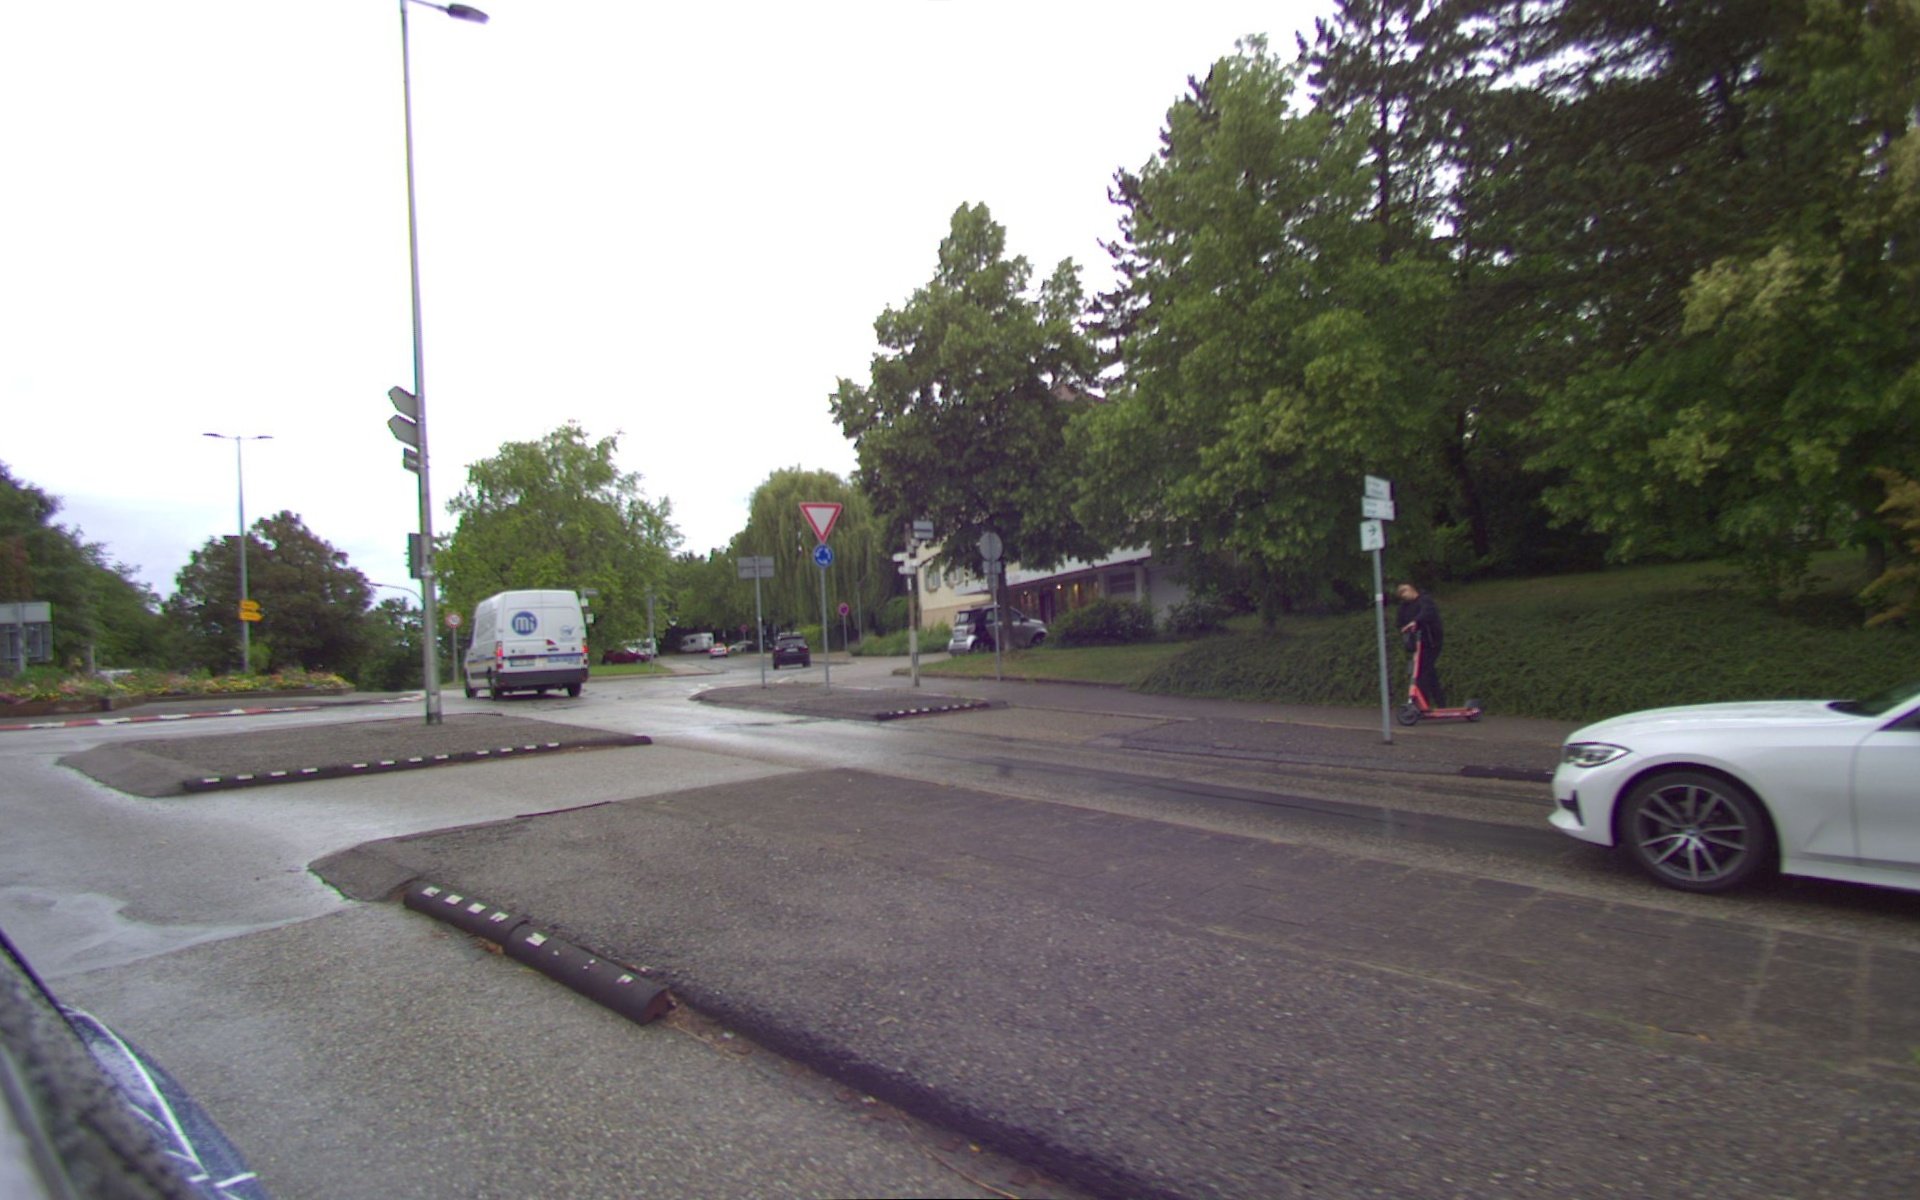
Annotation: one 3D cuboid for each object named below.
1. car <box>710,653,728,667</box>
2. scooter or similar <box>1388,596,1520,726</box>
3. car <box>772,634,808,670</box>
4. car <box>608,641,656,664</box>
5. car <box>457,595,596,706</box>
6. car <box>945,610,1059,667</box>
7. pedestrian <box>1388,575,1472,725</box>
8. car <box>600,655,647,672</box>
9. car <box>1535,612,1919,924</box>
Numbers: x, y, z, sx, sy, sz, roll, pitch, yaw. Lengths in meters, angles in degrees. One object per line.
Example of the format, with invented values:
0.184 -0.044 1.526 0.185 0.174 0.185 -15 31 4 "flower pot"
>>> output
-24.024 5.980 100.988 1.535 1.321 3.864 -1 -3 -9 "car"
5.965 0.734 12.257 1.300 1.527 0.510 -1 -2 2 "scooter or similar"
-8.358 2.516 49.925 1.671 1.626 4.346 0 -1 -9 "car"
-35.821 5.756 110.710 4.835 2.319 1.796 0 -6 -13 "car"
-10.777 1.286 24.906 2.138 2.434 5.409 0 -4 -34 "car"
1.192 1.080 29.009 2.774 1.553 1.703 0 -2 -22 "car"
5.963 0.623 12.844 0.824 1.821 0.696 -2 -2 35 "pedestrian"
-29.605 5.570 89.029 3.793 1.321 1.564 0 -5 -13 "car"
5.589 0.755 4.647 4.822 1.412 1.807 -2 -2 44 "car"
